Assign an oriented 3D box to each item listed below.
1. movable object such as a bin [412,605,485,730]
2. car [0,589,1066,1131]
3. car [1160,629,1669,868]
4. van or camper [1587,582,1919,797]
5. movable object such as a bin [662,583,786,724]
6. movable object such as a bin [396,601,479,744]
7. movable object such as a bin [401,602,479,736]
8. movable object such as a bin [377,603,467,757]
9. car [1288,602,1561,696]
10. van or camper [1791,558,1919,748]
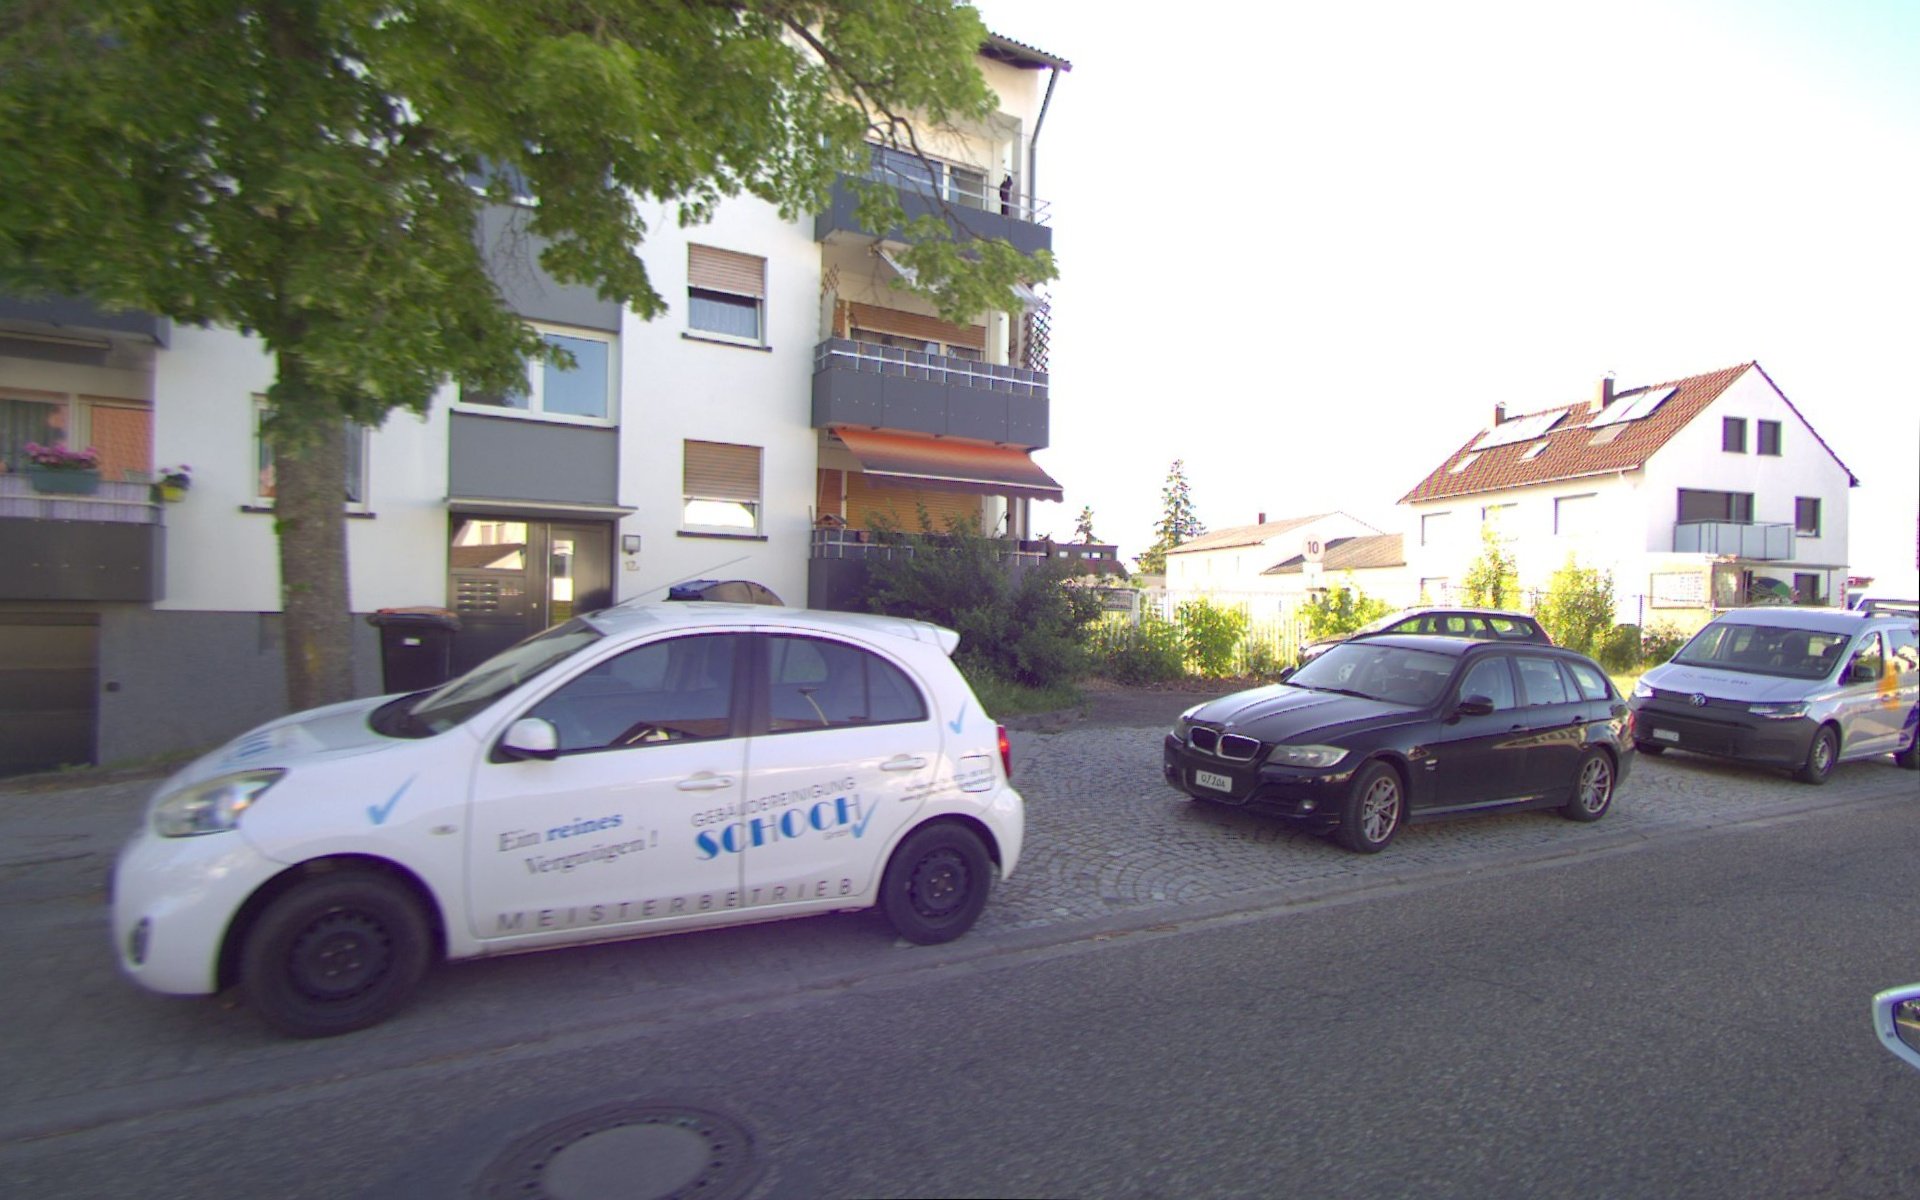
[{"bbox_3d":[-5.508,0.705,10.834,0.663,1.296,0.636,1,0,-27],"label":"movable object such as a bin"},{"bbox_3d":[-1.607,0.824,4.673,3.857,1.587,1.686,1,2,-28],"label":"car"},{"bbox_3d":[3.801,1.006,8.189,4.262,1.454,1.601,1,1,-30],"label":"car"},{"bbox_3d":[9.533,0.909,11.751,4.228,2.041,1.869,1,3,-30],"label":"van or camper"},{"bbox_3d":[-2.722,0.587,11.506,1.101,1.502,1.226,1,-1,-27],"label":"movable object such as a bin"},{"bbox_3d":[-4.956,0.664,9.548,0.663,1.296,0.636,1,0,-27],"label":"movable object such as a bin"},{"bbox_3d":[-5.255,0.678,10.166,0.663,1.296,0.636,1,0,-27],"label":"movable object such as a bin"},{"bbox_3d":[-4.738,0.677,8.878,0.663,1.296,0.684,1,0,-27],"label":"movable object such as a bin"},{"bbox_3d":[8.455,0.859,18.622,4.299,1.534,1.615,1,0,10],"label":"car"},{"bbox_3d":[14.975,0.747,15.046,5.492,2.523,2.111,1,2,-31],"label":"van or camper"}]
